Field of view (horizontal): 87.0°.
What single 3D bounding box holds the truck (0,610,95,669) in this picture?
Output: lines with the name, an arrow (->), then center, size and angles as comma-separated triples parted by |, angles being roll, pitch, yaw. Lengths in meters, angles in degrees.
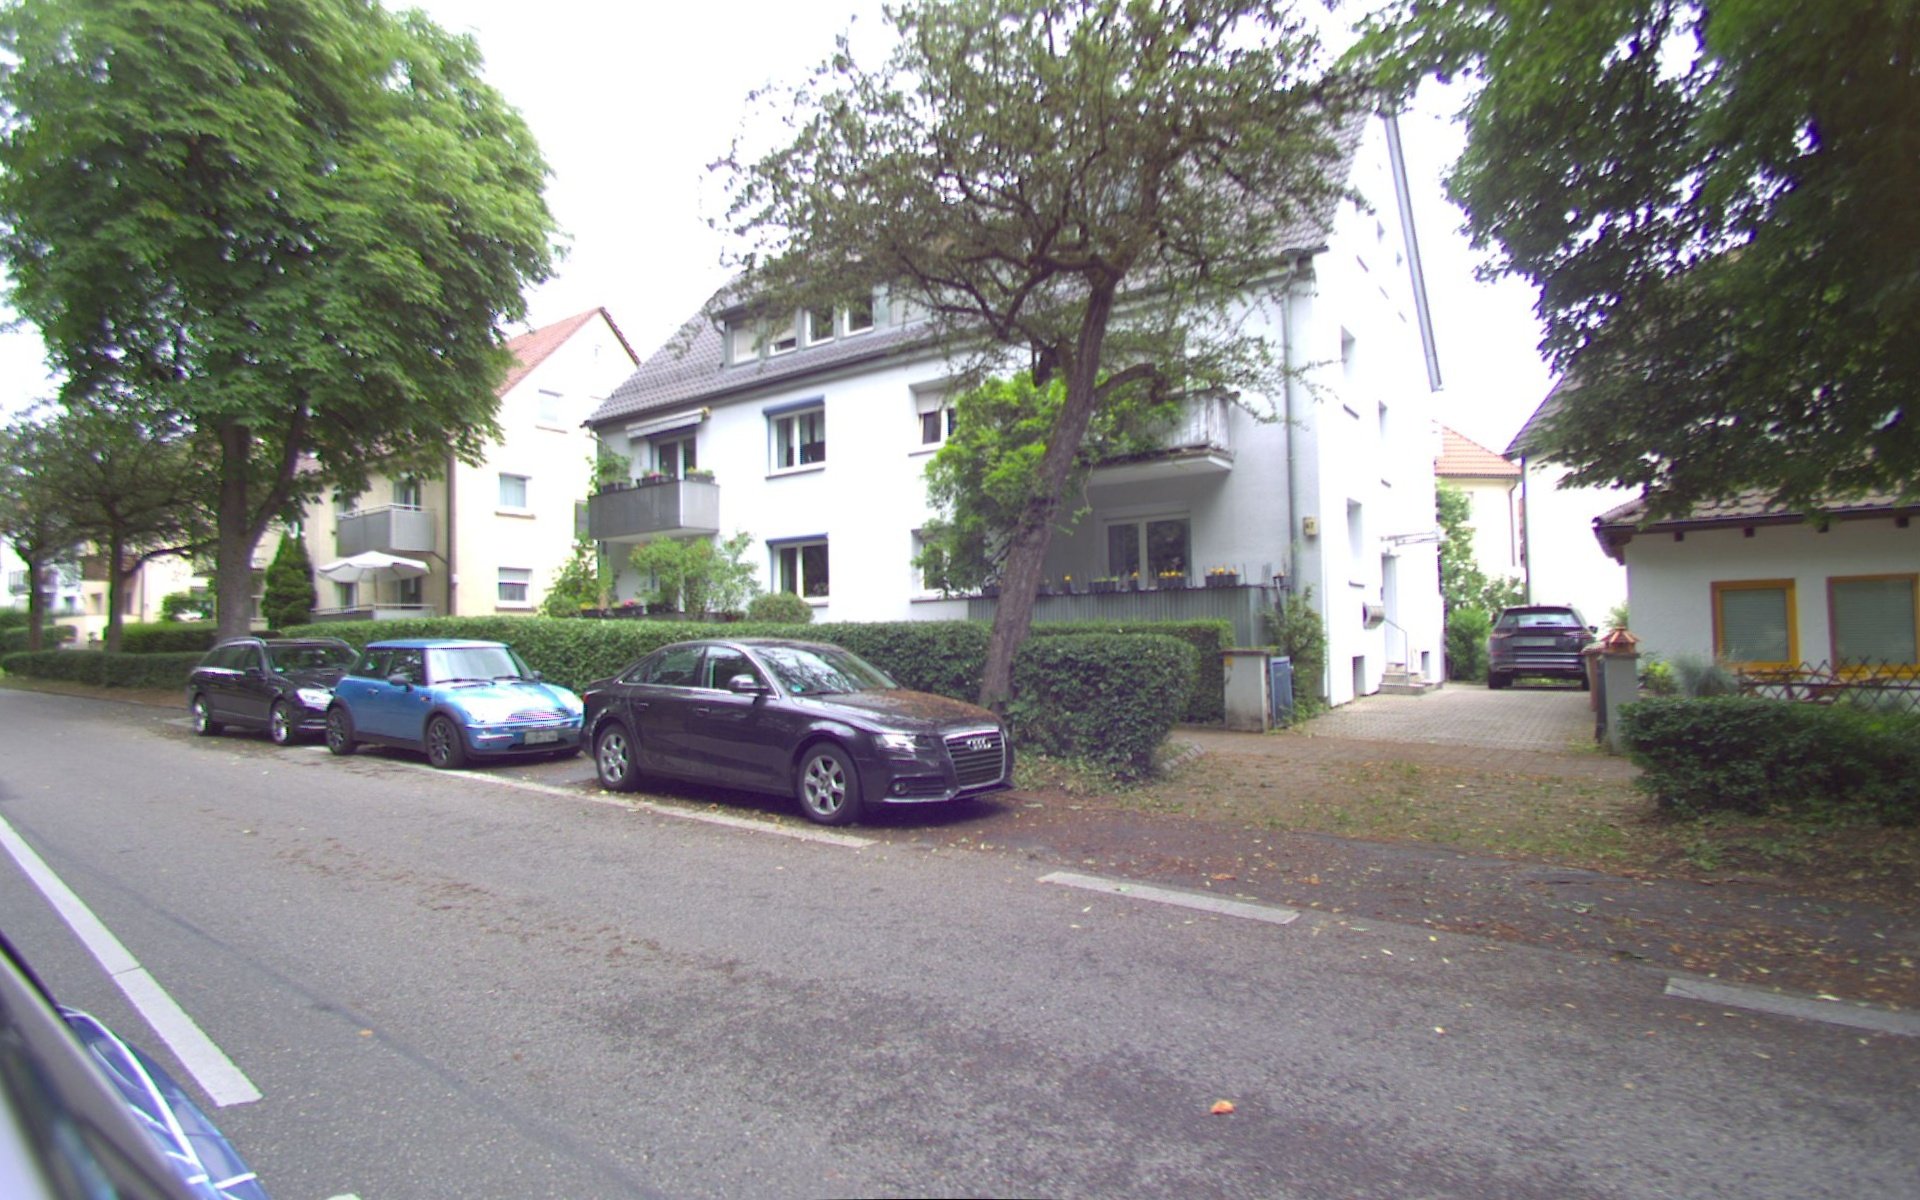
truck -> -51.920, 2.184, 55.964 | 2.511, 3.155, 5.749 | -2, -2, 33

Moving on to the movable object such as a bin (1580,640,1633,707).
movable object such as a bin -> 9.310, 1.045, 14.569 | 0.573, 0.929, 0.482 | -2, -1, 39

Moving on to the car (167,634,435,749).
car -> -9.841, 1.270, 15.019 | 4.407, 1.483, 1.779 | -2, -3, 35

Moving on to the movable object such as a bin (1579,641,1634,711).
movable object such as a bin -> 9.024, 1.055, 14.135 | 0.573, 0.929, 0.482 | -2, -1, 39

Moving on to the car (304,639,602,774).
car -> -6.191, 1.186, 12.253 | 3.698, 1.402, 1.650 | -2, -3, 35

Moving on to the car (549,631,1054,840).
car -> -1.593, 1.022, 9.054 | 4.638, 1.421, 1.777 | -2, -4, 38

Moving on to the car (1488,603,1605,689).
car -> 11.649, 0.843, 19.980 | 1.730, 1.522, 3.954 | -2, -1, 34
